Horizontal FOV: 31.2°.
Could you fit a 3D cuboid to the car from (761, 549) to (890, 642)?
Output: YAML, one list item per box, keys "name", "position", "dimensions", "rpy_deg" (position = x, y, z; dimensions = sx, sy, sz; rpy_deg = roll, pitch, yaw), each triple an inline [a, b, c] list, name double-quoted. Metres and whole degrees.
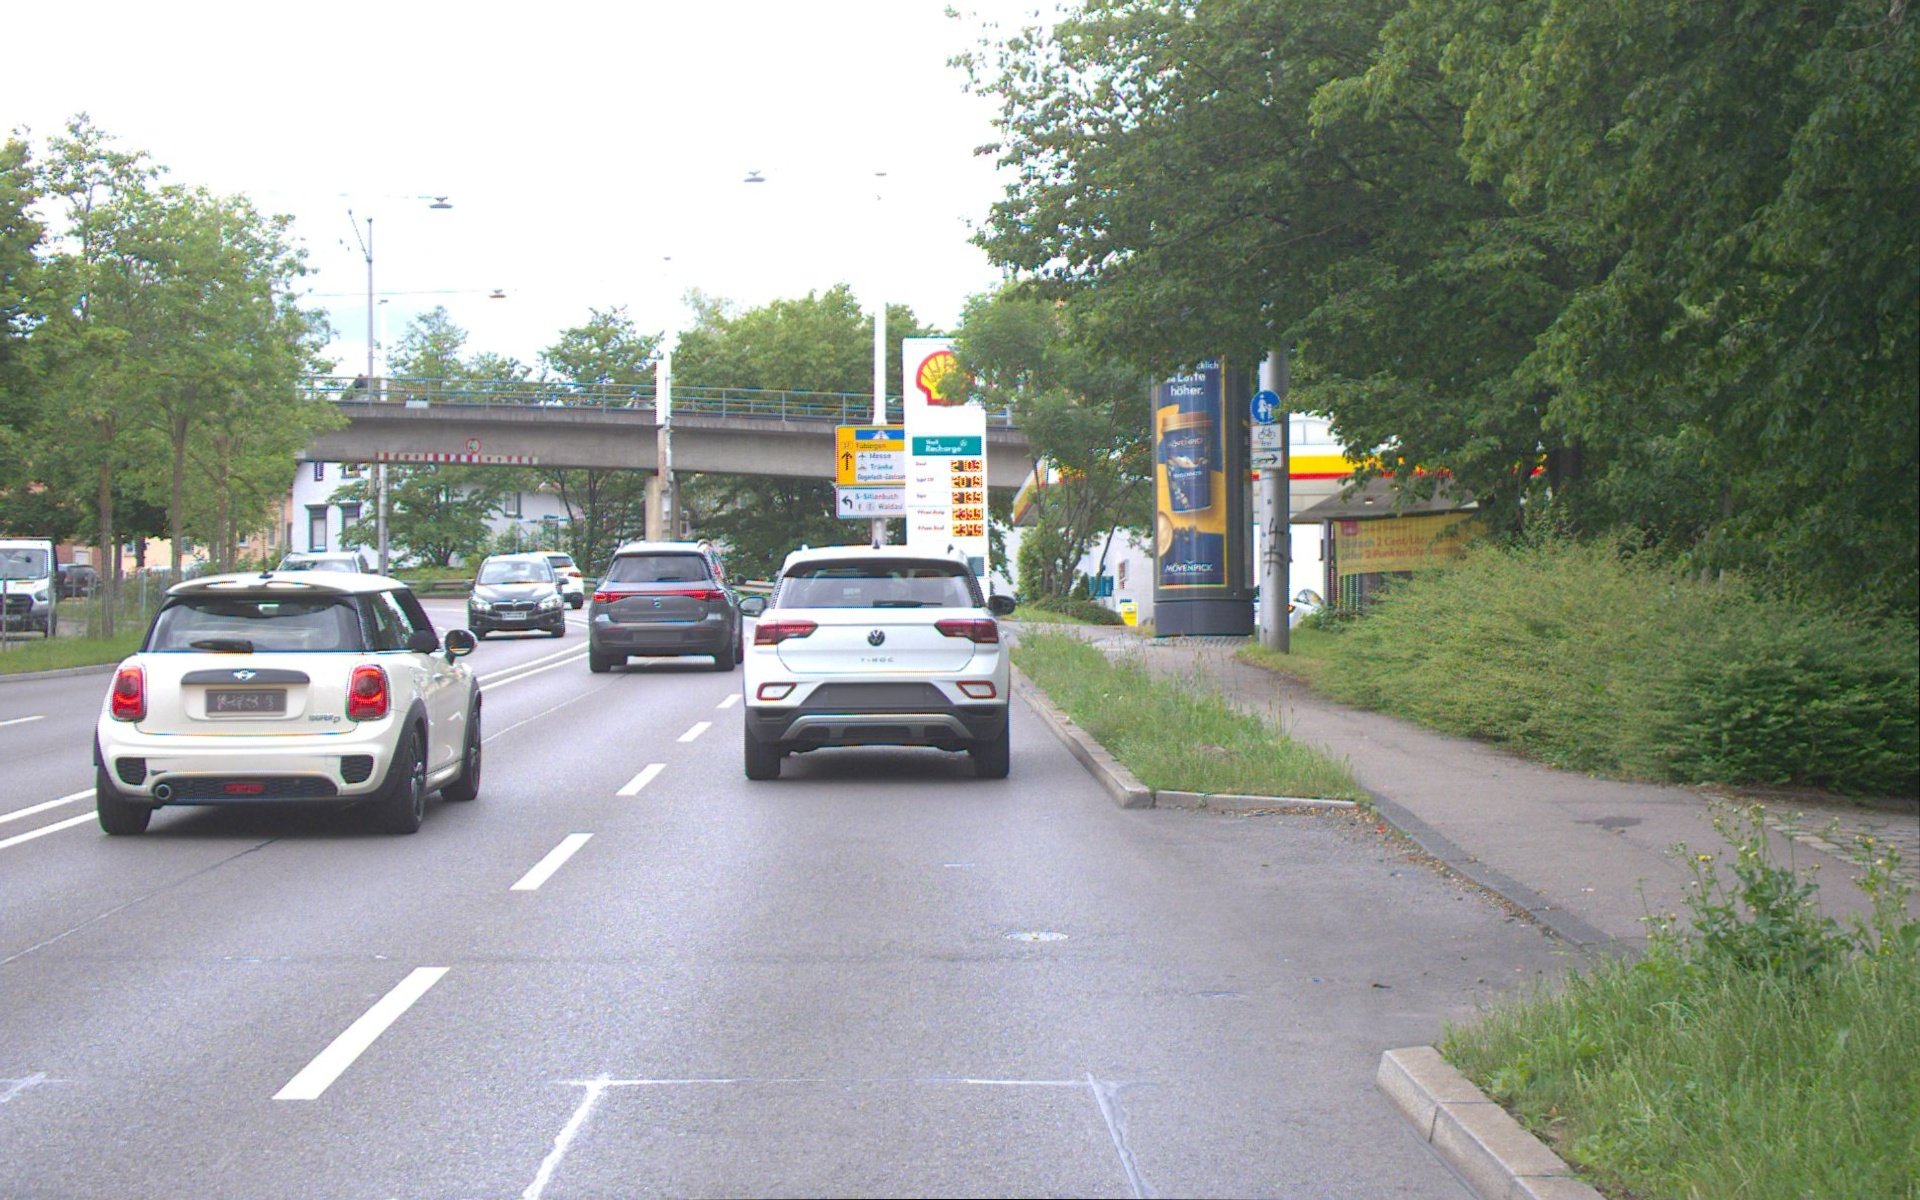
- name: "car"
  position: [-2.132, -0.093, 53.770]
  dimensions: [1.675, 1.404, 3.457]
  rpy_deg: [0, 1, -8]

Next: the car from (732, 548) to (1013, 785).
- name: "car"
  position: [-0.585, 0.407, 23.720]
  dimensions: [1.797, 1.514, 3.457]
  rpy_deg: [0, 1, -1]

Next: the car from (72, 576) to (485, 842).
- name: "car"
  position: [-3.790, 0.555, 19.638]
  dimensions: [1.722, 1.371, 3.457]
  rpy_deg: [0, 1, -1]

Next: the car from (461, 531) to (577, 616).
- name: "car"
  position: [-8.523, -0.525, 66.733]
  dimensions: [1.764, 1.587, 4.366]
  rpy_deg: [0, 1, -1]

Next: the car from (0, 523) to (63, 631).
- name: "car"
  position: [-21.087, -0.496, 76.022]
  dimensions: [2.267, 2.265, 6.329]
  rpy_deg: [-1, 1, -14]

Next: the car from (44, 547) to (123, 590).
- name: "car"
  position: [-33.929, -1.221, 133.025]
  dimensions: [1.785, 1.570, 4.468]
  rpy_deg: [-2, 1, -30]

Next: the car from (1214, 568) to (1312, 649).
- name: "car"
  position: [6.250, 0.195, 71.202]
  dimensions: [1.735, 1.481, 3.877]
  rpy_deg: [-1, -3, 1]

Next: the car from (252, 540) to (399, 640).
- name: "car"
  position: [-11.156, -0.205, 60.754]
  dimensions: [1.764, 1.703, 4.871]
  rpy_deg: [0, 1, -1]

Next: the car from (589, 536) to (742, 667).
- name: "car"
  position: [-3.773, -0.001, 44.474]
  dimensions: [1.722, 1.634, 3.457]
  rpy_deg: [0, 1, -1]

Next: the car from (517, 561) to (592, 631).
- name: "car"
  position: [-11.508, -0.140, 97.396]
  dimensions: [1.897, 1.931, 4.001]
  rpy_deg: [0, 1, -10]

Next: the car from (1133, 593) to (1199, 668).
- name: "car"
  position: [6.066, 0.927, 101.649]
  dimensions: [1.735, 2.004, 4.712]
  rpy_deg: [-1, -3, 1]
